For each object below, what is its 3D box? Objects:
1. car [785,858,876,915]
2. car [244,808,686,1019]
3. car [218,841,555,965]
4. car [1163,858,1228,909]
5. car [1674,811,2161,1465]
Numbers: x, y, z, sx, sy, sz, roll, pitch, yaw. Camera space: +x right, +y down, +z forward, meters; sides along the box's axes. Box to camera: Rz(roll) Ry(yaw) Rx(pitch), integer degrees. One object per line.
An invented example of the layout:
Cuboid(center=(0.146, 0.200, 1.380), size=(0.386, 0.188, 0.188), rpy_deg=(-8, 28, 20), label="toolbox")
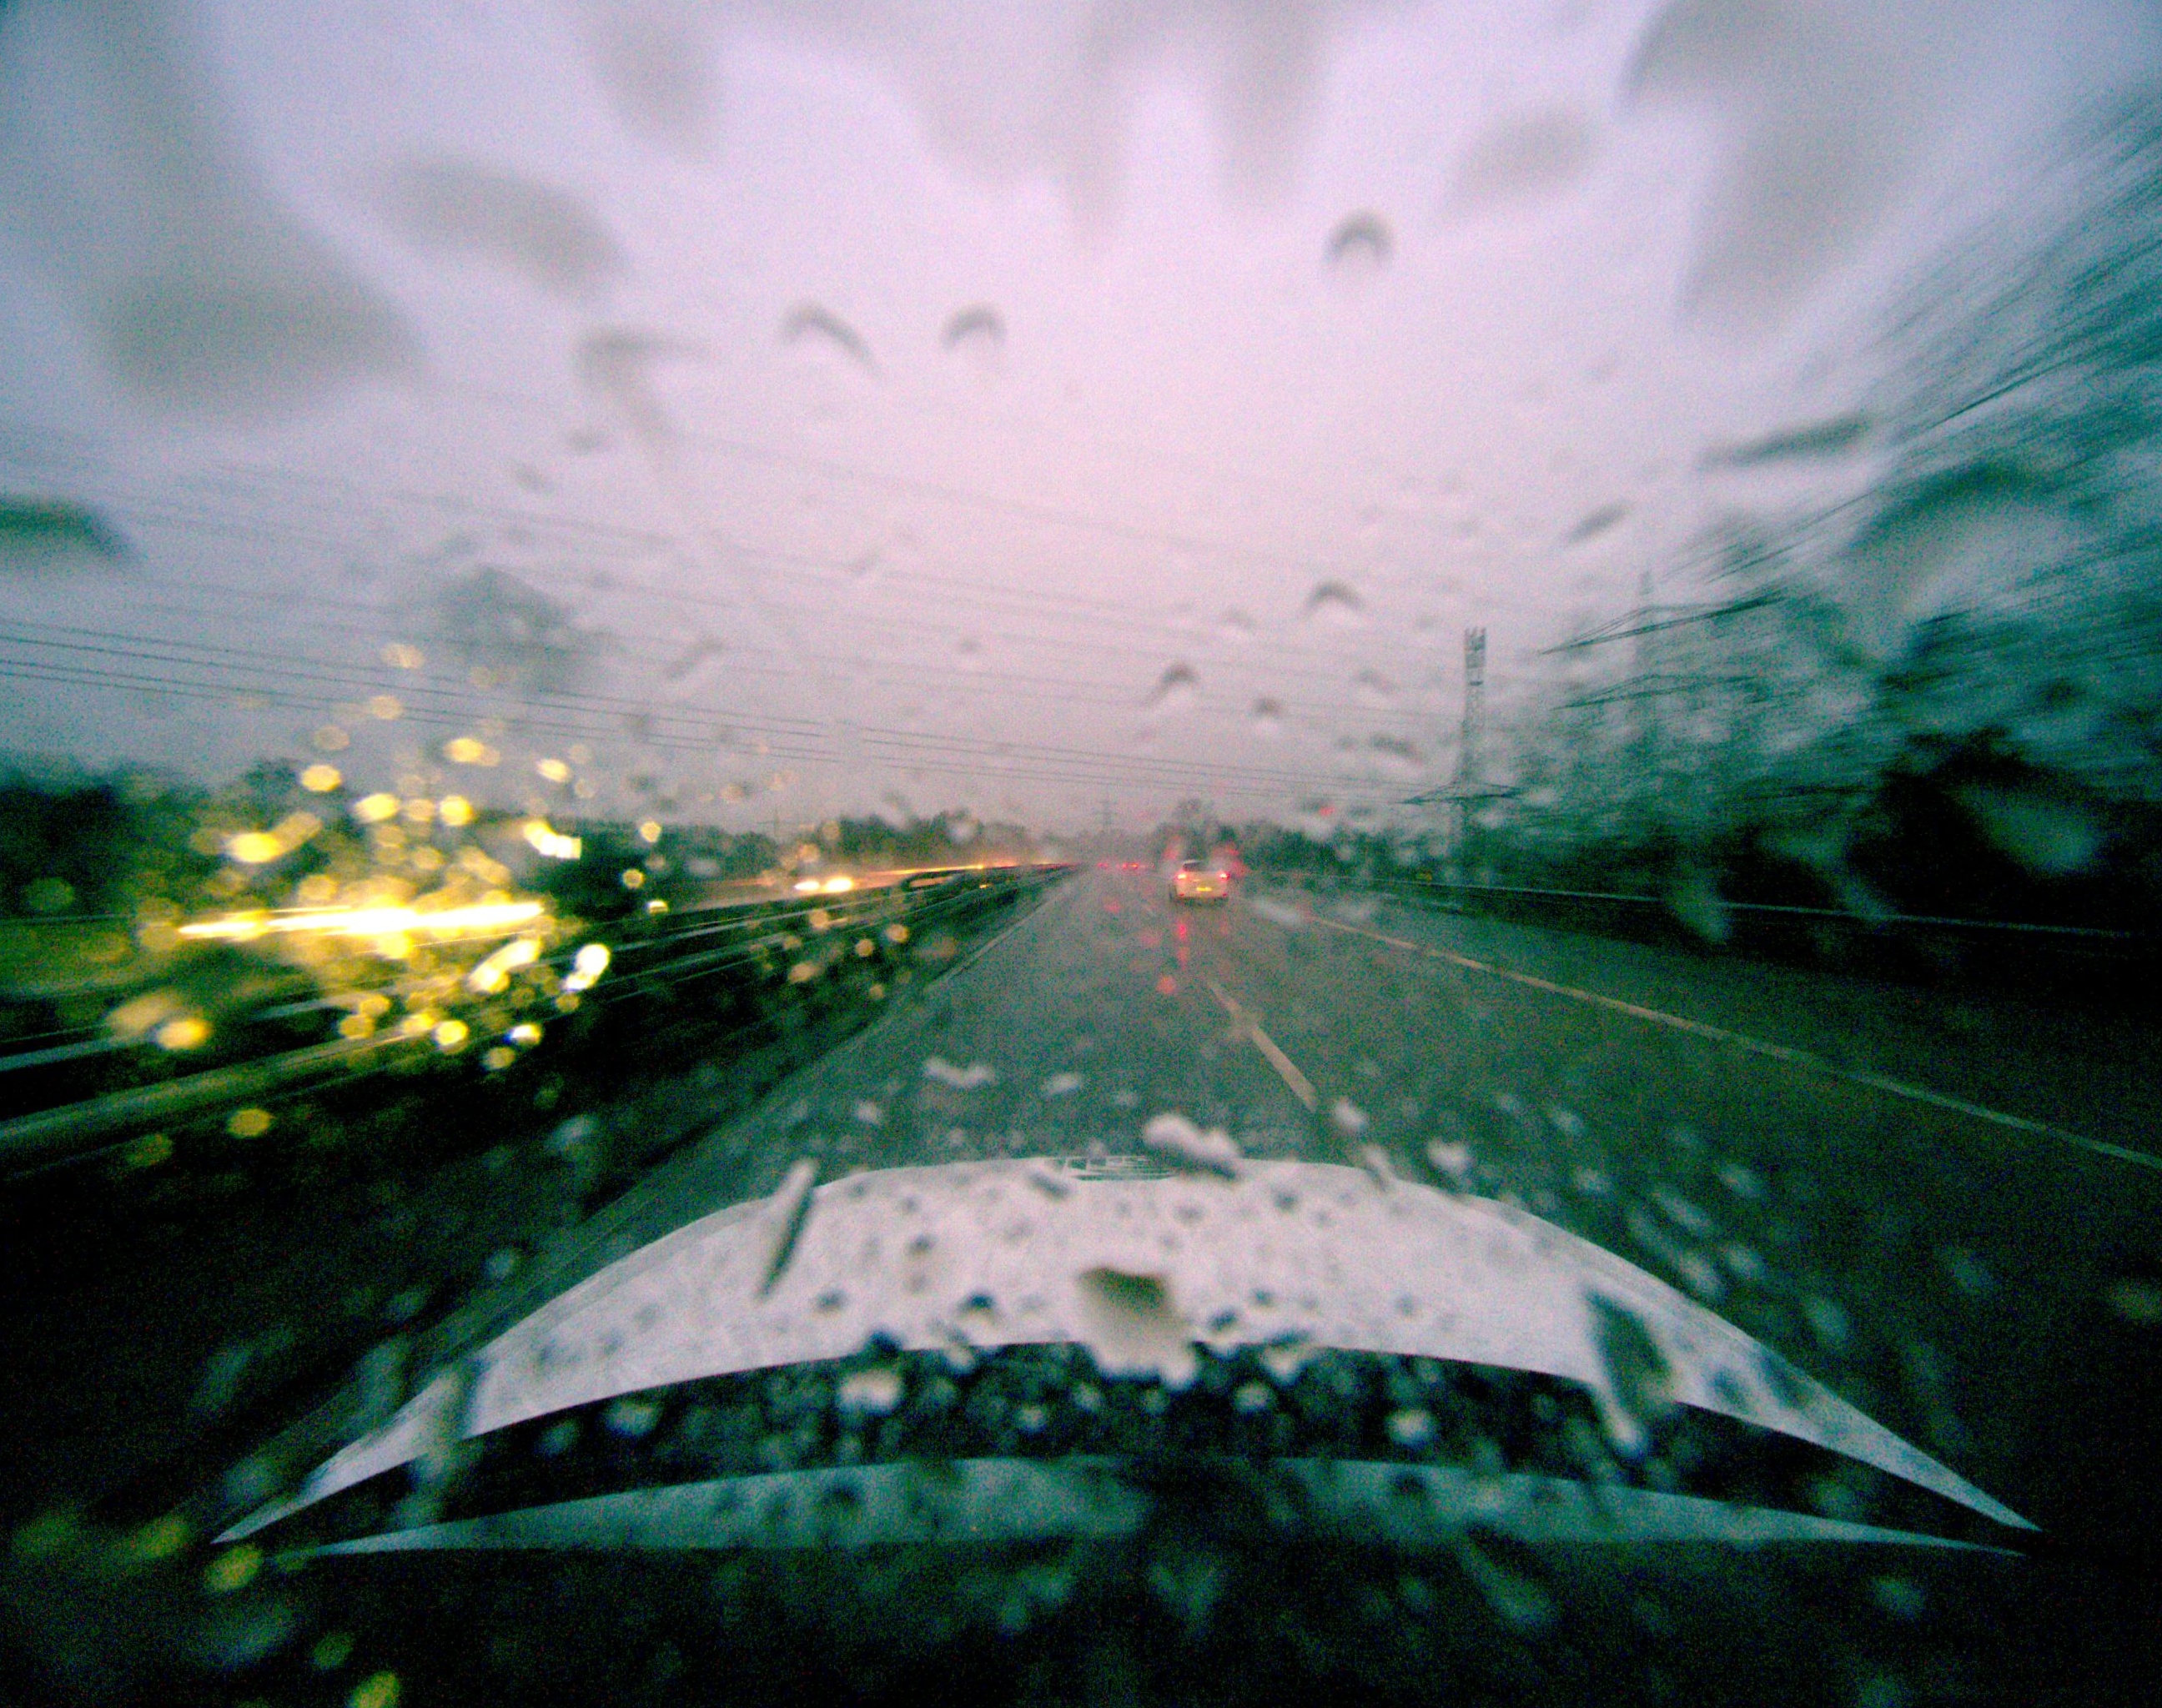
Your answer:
Cuboid(center=(-10.031, 1.227, 33.079), size=(2.063, 2.114, 4.763), rpy_deg=(-1, 0, 1), label="car")
Cuboid(center=(-7.459, 0.619, 10.707), size=(2.063, 2.114, 4.763), rpy_deg=(-1, 0, 1), label="car")
Cuboid(center=(-11.678, 0.737, 14.210), size=(2.063, 1.791, 4.341), rpy_deg=(-1, 0, 1), label="car")
Cuboid(center=(3.951, 0.970, 28.560), size=(1.839, 1.636, 3.769), rpy_deg=(-1, 0, 2), label="car")
Cuboid(center=(3.309, 0.608, 1.217), size=(1.839, 1.453, 4.148), rpy_deg=(-1, -1, 1), label="car")
